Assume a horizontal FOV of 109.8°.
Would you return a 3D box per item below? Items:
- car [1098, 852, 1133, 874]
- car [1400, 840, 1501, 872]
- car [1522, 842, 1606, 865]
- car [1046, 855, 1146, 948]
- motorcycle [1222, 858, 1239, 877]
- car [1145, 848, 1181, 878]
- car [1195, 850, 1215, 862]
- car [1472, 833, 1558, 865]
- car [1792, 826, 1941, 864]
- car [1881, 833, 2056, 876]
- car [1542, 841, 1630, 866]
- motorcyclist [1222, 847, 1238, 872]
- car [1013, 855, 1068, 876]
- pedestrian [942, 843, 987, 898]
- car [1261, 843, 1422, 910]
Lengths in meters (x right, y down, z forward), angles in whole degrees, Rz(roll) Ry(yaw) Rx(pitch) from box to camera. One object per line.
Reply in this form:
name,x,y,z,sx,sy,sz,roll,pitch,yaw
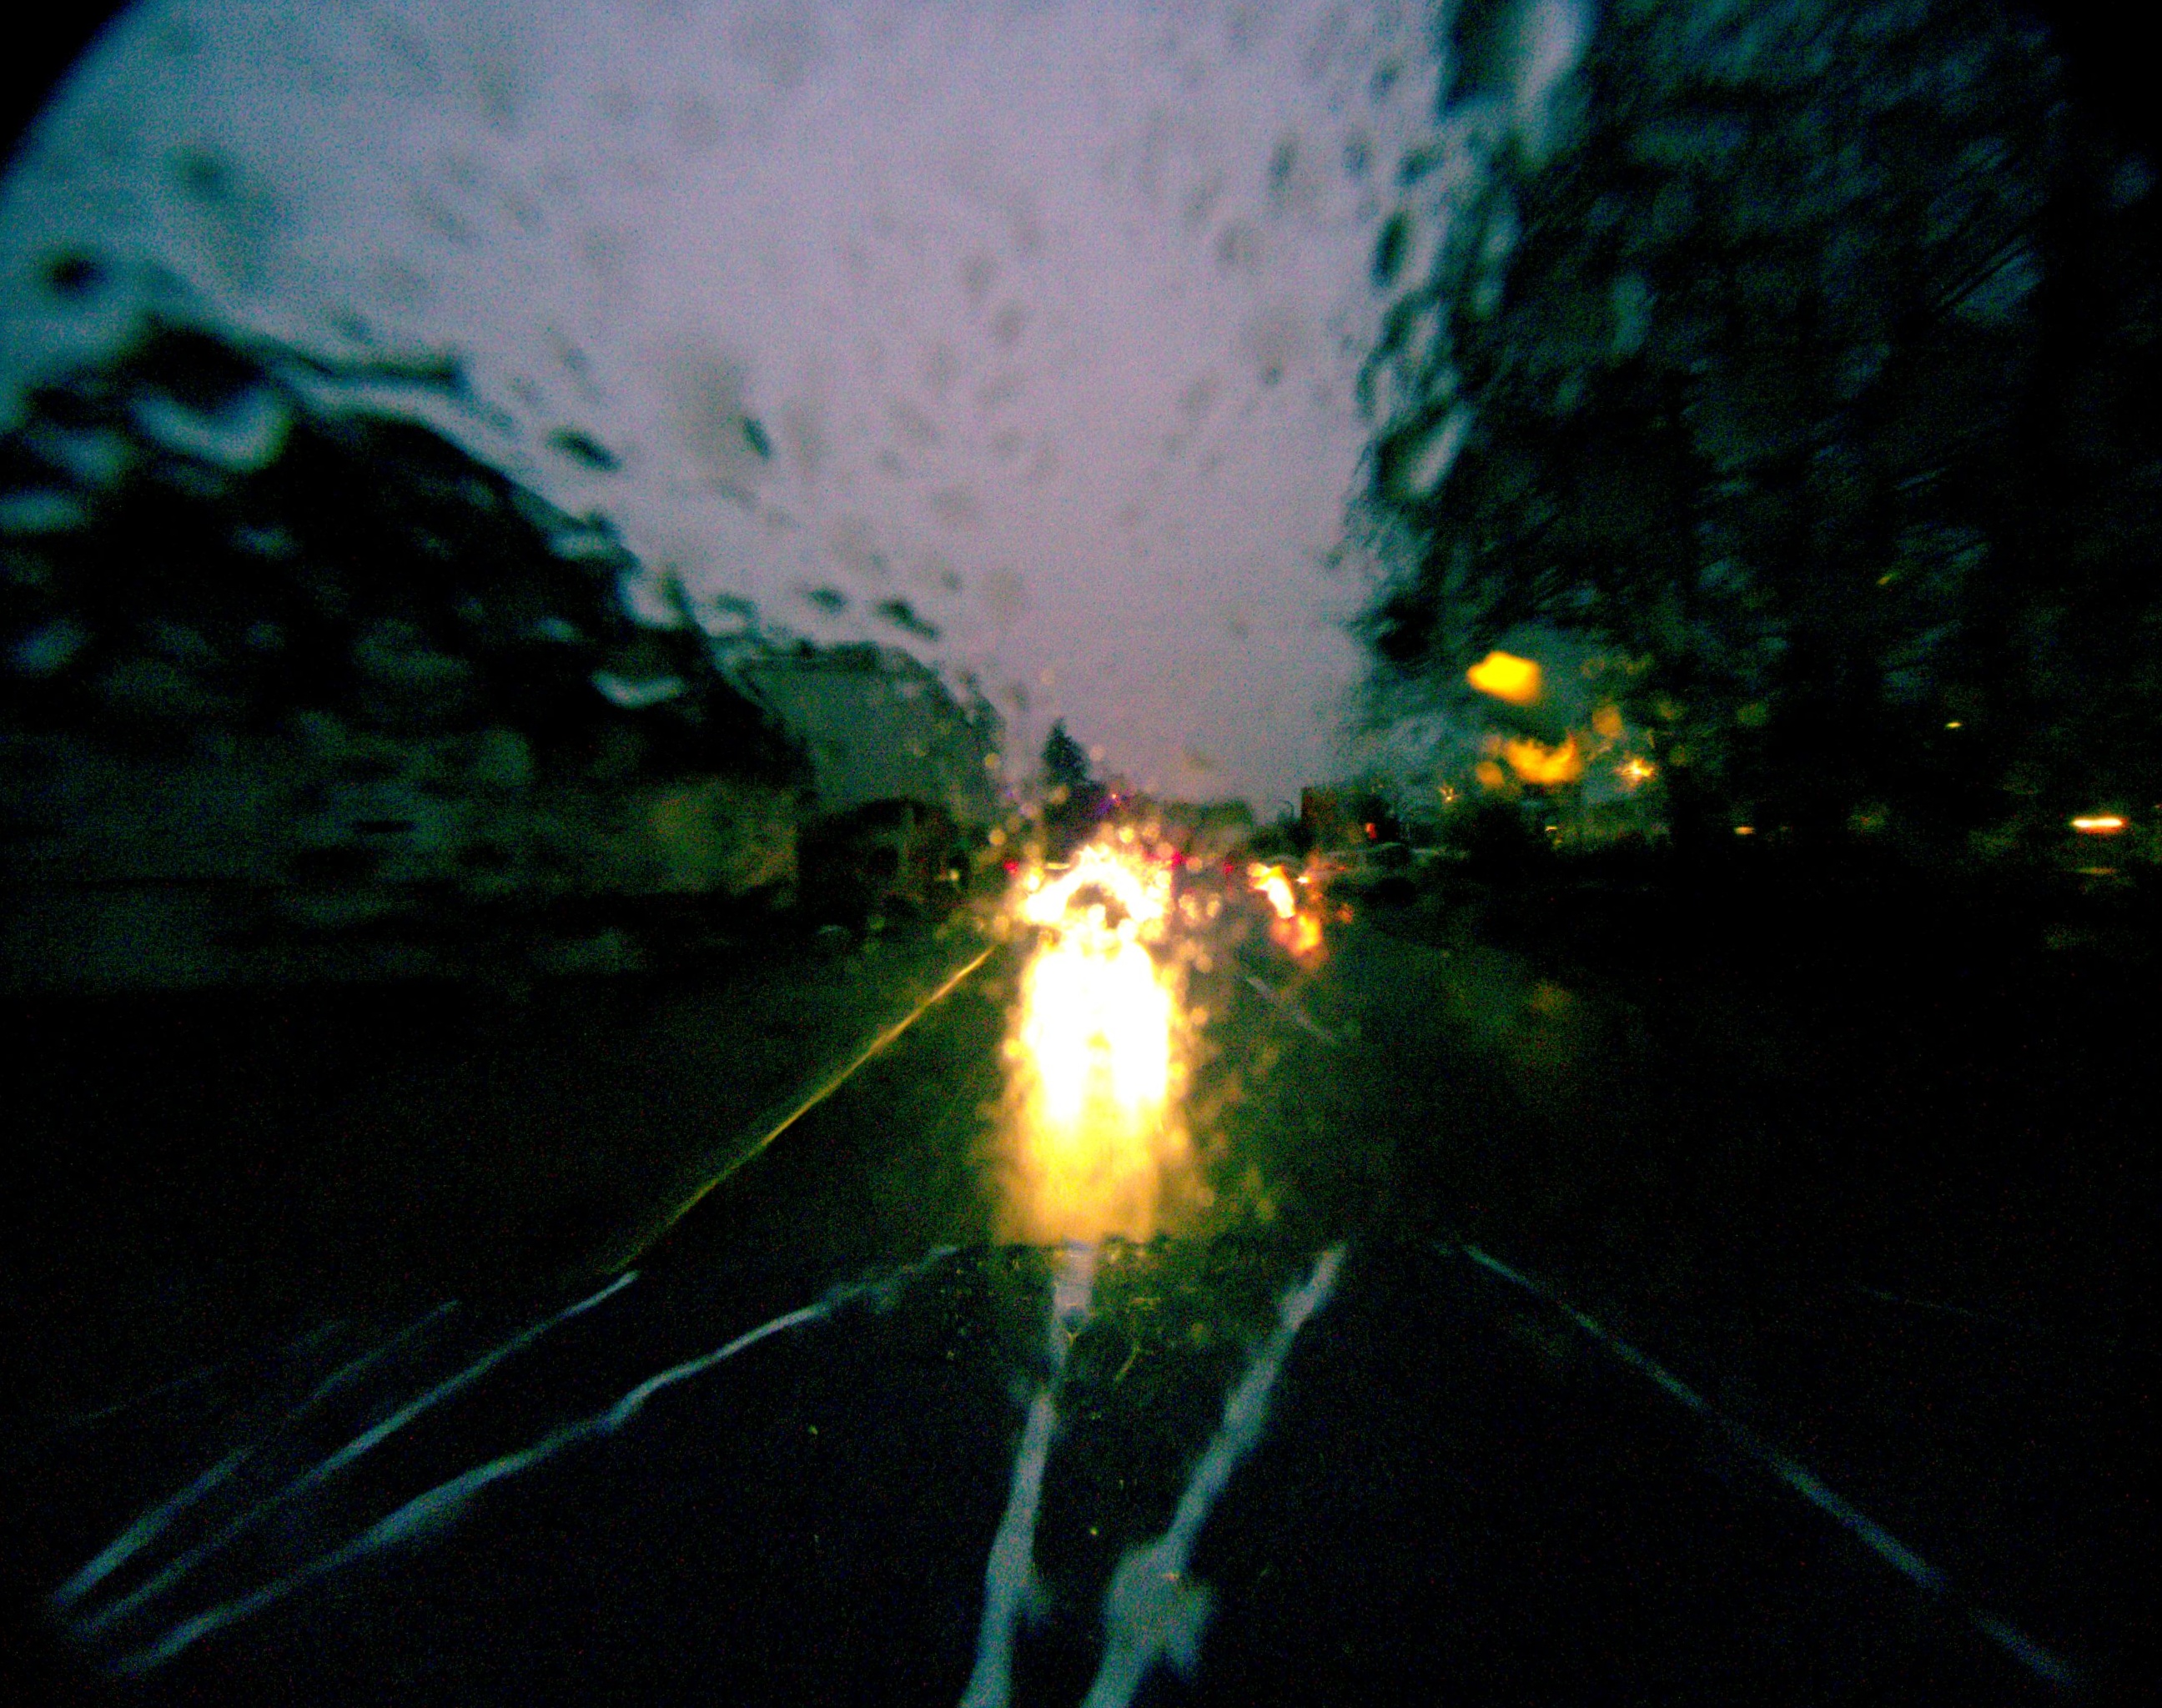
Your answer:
car,2.508,0.613,53.950,1.997,1.464,4.003,-2,0,9
car,21.089,0.124,43.482,4.784,1.701,2.032,-1,0,-5
car,32.663,-0.005,51.457,4.443,1.554,2.055,0,-1,-5
car,0.297,0.872,16.099,1.776,1.632,4.421,-1,0,1
motorcycle,8.889,0.789,45.323,0.867,1.018,2.110,-2,1,8
car,5.123,0.538,47.104,1.774,1.713,4.425,-1,0,12
car,15.864,0.296,97.417,1.773,1.422,3.802,-2,-1,20
car,32.002,-0.334,56.120,5.200,2.269,2.218,0,-1,-5
car,33.140,-0.359,32.136,4.443,1.554,2.055,0,-1,-5
car,33.155,0.030,28.459,4.443,1.554,2.055,0,-1,-5
car,32.542,-0.026,49.027,4.443,1.554,2.055,0,-1,-5
motorcyclist,8.887,0.320,45.377,0.867,1.476,0.909,-2,1,8
car,-3.228,0.923,60.967,4.181,1.432,1.798,-4,-1,1
pedestrian,-4.046,0.556,26.472,1.257,1.855,1.303,1,1,5
car,8.002,0.662,23.551,4.239,1.689,1.898,-4,1,-8
